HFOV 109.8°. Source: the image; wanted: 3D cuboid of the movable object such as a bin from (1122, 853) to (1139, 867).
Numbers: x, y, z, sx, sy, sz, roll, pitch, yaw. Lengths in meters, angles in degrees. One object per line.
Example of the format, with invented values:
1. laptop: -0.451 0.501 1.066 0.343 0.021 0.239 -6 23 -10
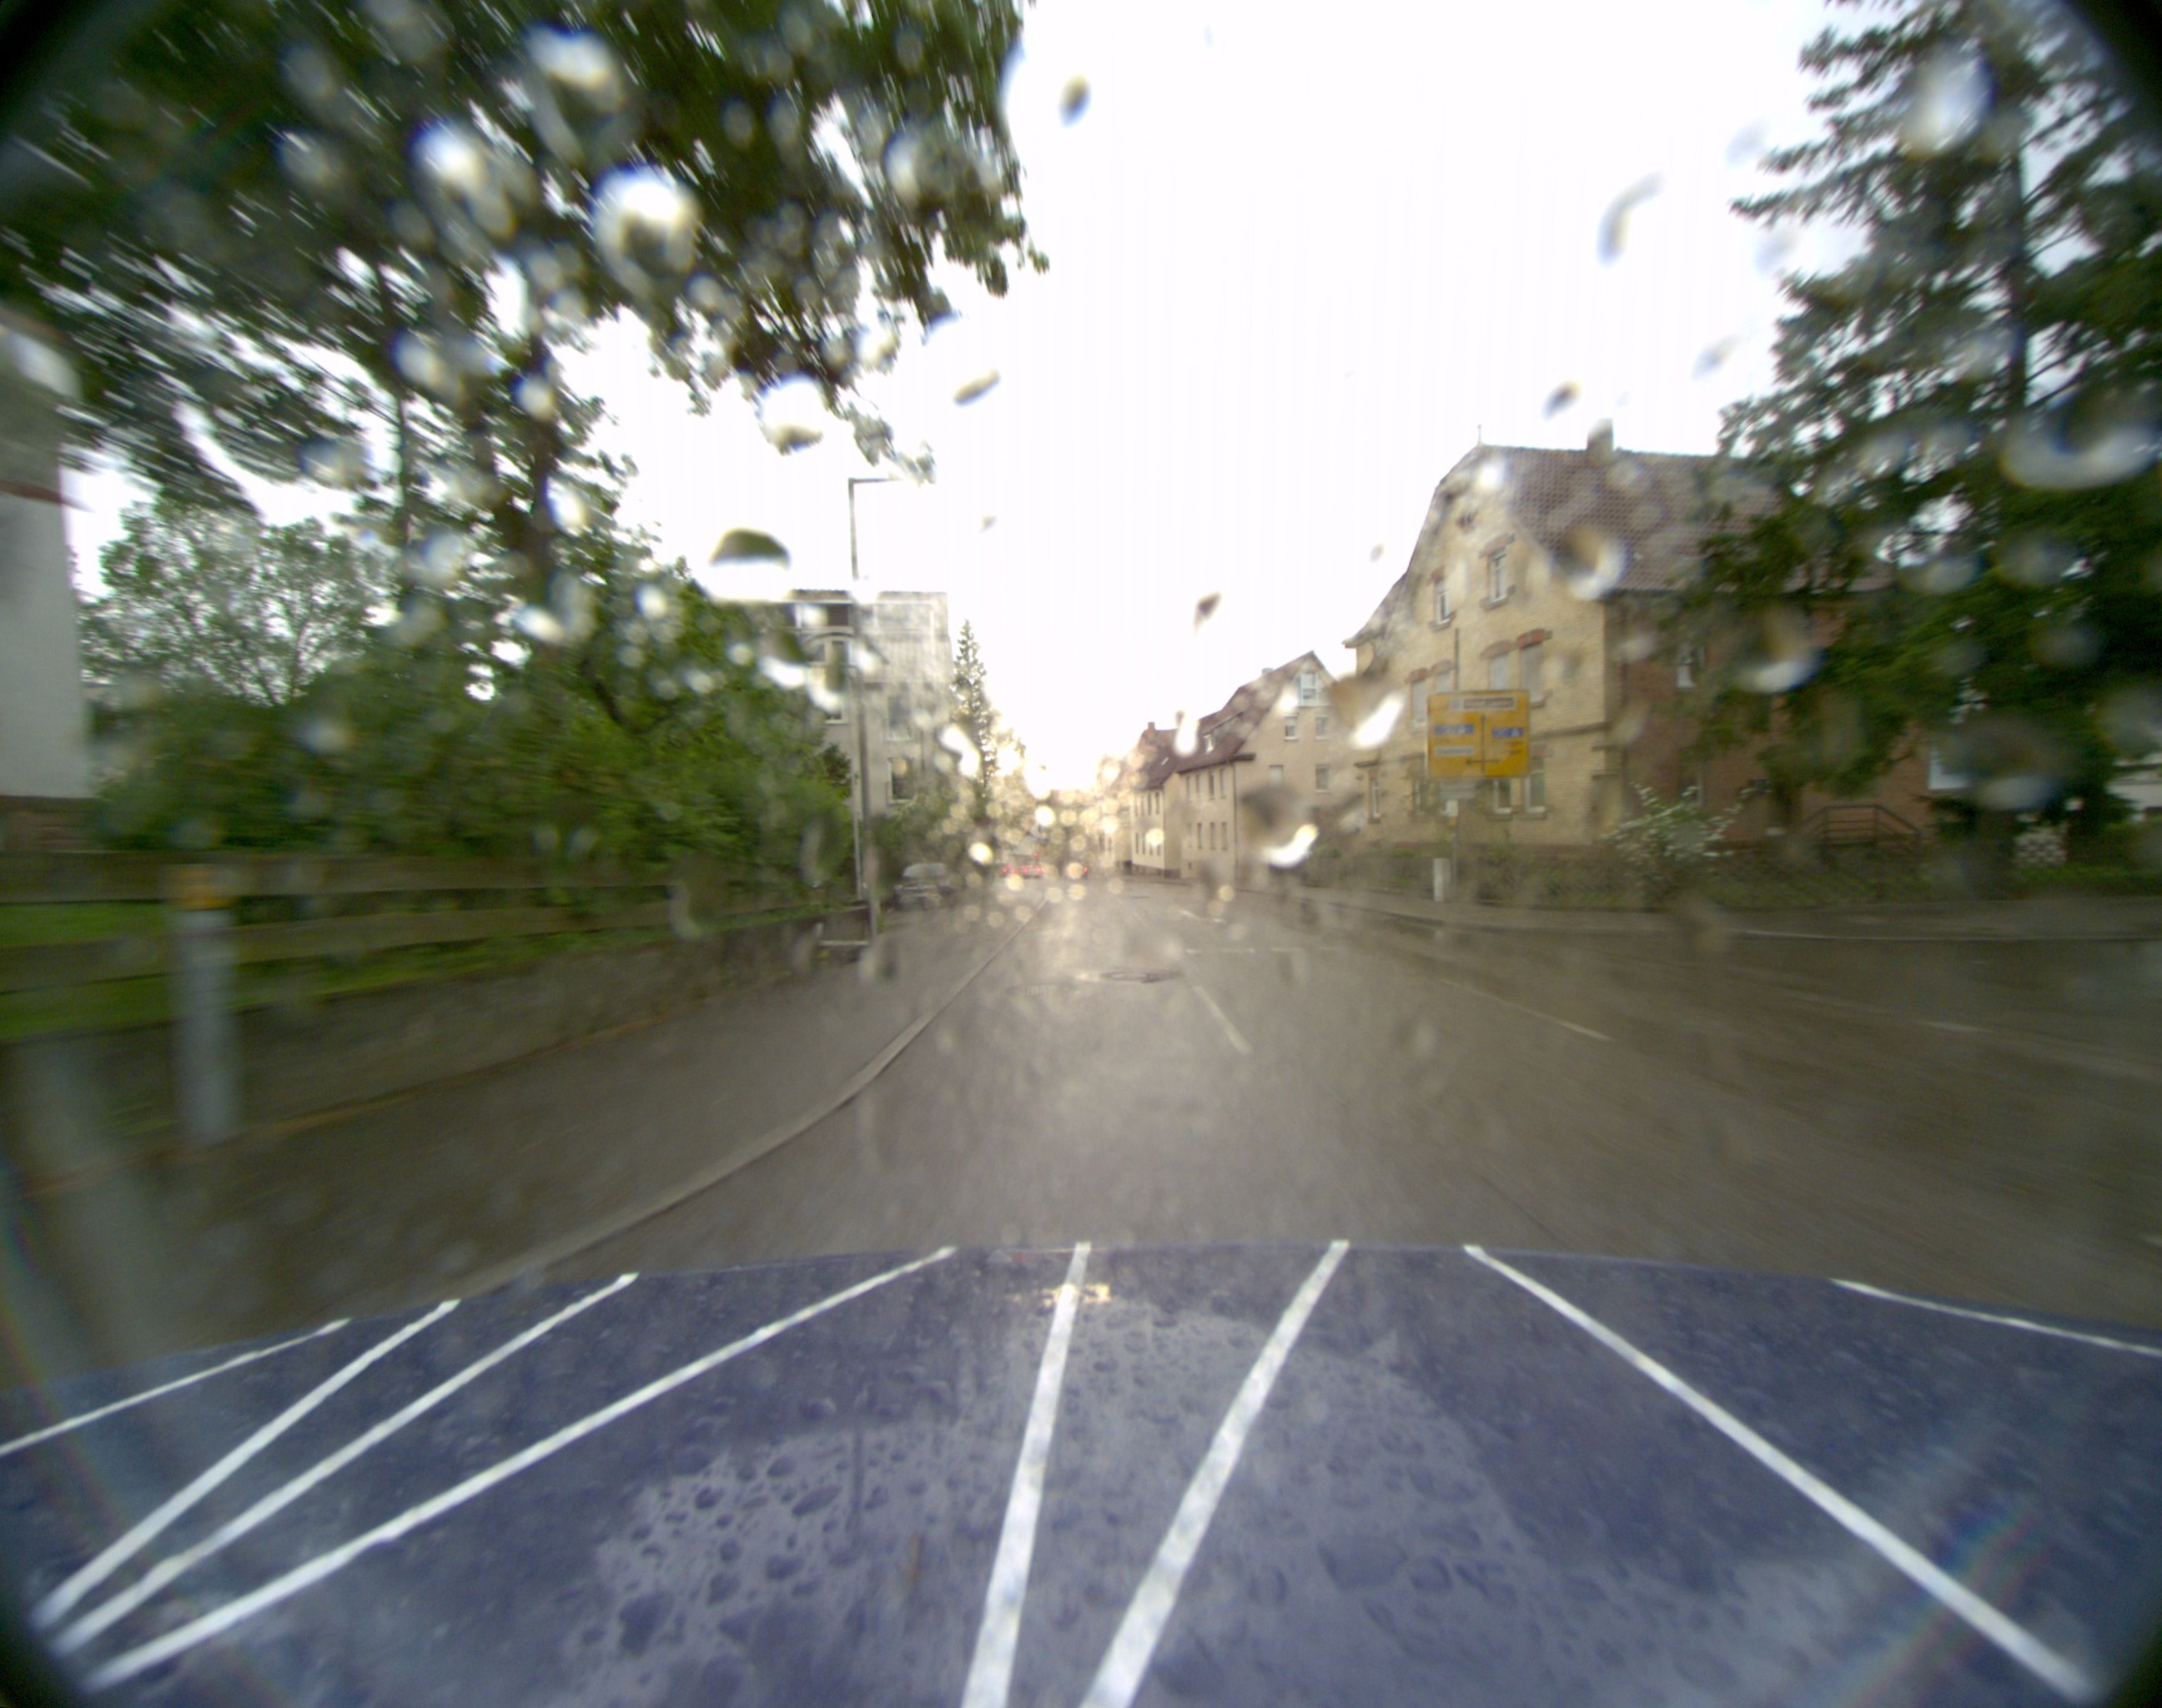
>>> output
1. movable object such as a bin: 4.654 0.567 71.088 1.284 1.259 1.049 -3 0 -12

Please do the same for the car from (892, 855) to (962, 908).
1. car: -5.238 0.865 26.366 1.786 1.561 4.725 -4 0 -5

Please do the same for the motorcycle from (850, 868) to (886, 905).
1. motorcycle: -7.503 1.119 26.896 0.854 1.170 2.492 -2 0 -8

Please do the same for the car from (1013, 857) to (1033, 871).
1. car: -6.916 1.187 90.469 1.805 1.431 4.685 -3 0 -11

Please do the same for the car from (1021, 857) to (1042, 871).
1. car: -5.363 1.089 82.469 1.805 1.431 4.685 -3 0 -9

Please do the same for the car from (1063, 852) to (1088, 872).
1. car: -0.527 0.698 67.809 1.750 1.562 3.811 -6 1 -5

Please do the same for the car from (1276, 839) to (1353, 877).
1. car: 10.515 0.195 34.507 1.776 1.494 3.880 -4 0 -8

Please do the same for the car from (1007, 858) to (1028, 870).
1. car: -8.091 1.266 96.362 1.947 1.432 5.011 -3 0 -11
